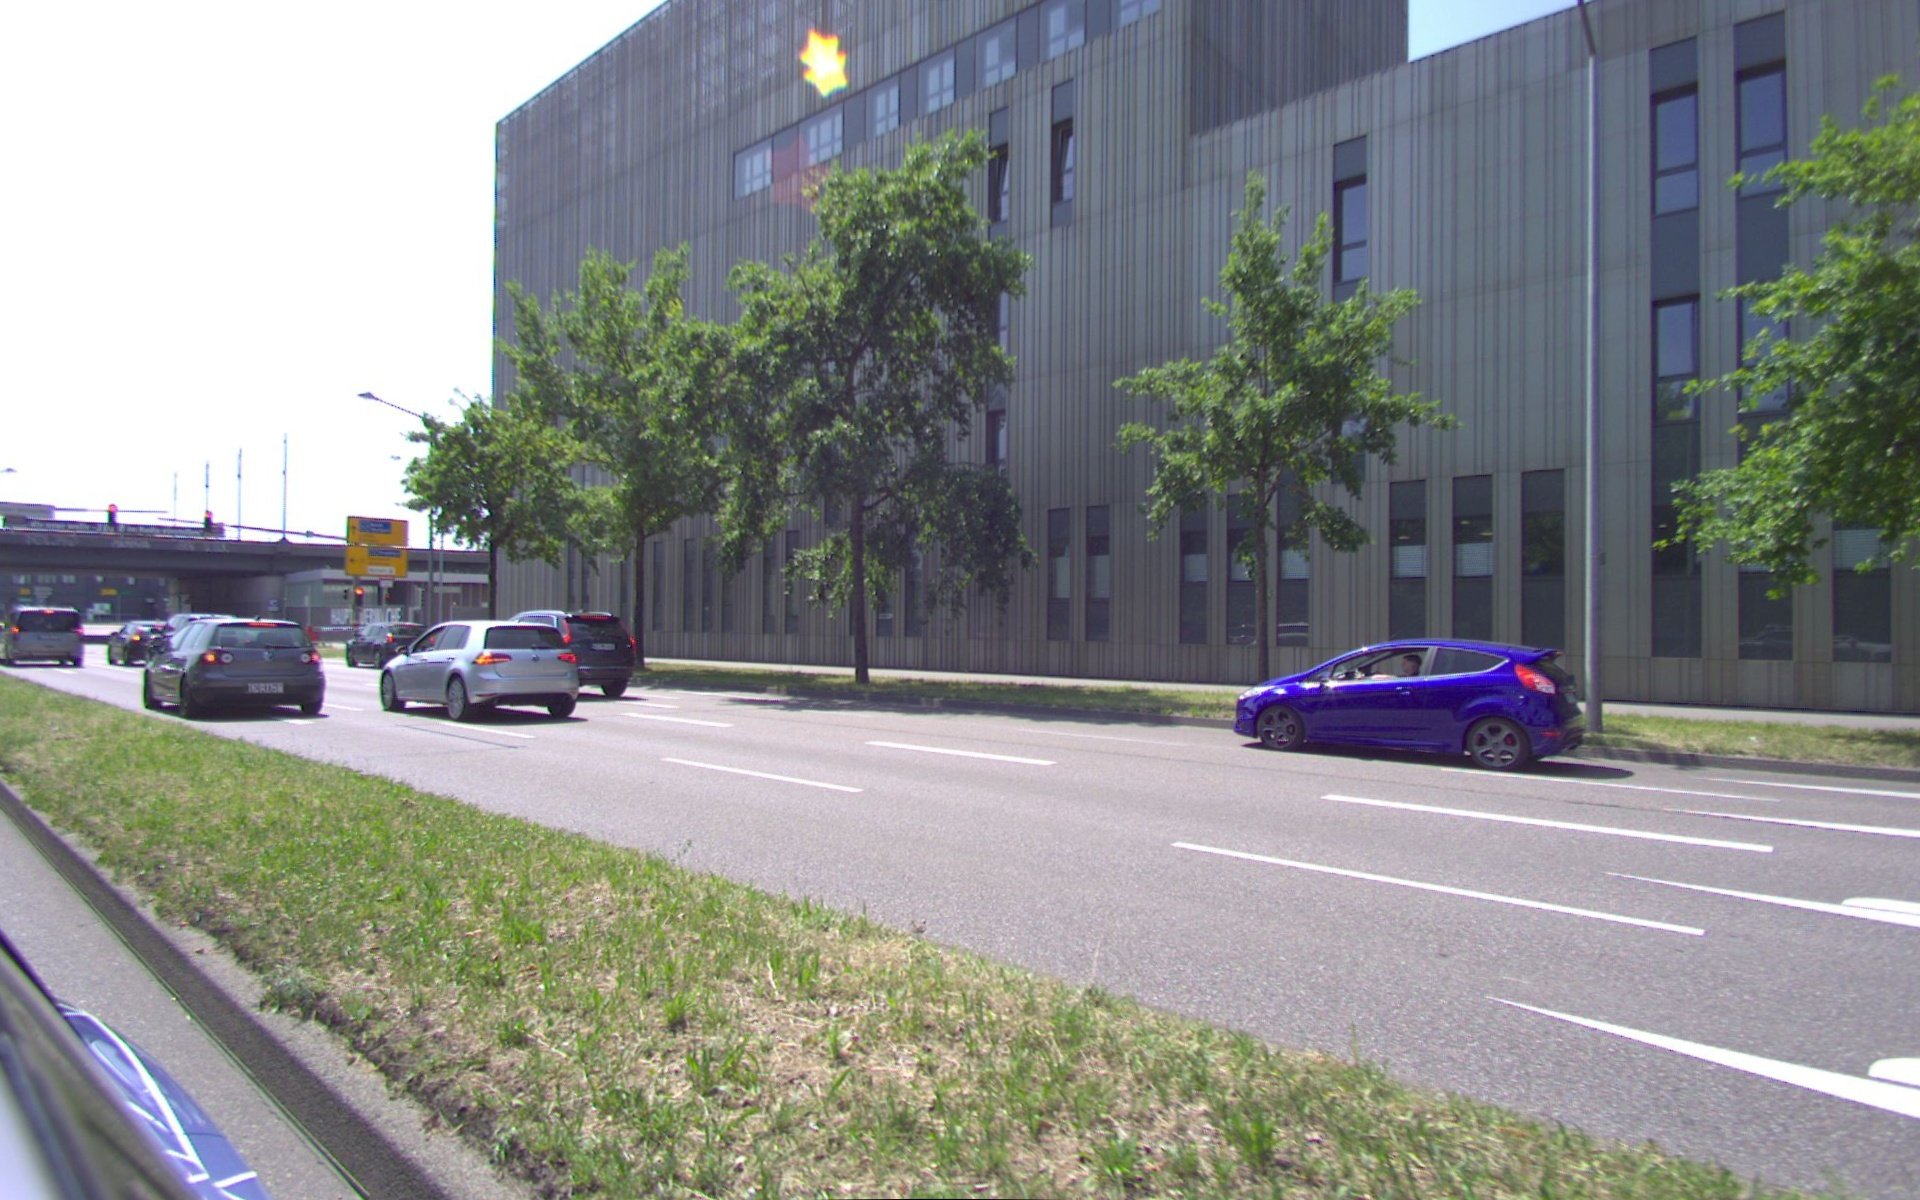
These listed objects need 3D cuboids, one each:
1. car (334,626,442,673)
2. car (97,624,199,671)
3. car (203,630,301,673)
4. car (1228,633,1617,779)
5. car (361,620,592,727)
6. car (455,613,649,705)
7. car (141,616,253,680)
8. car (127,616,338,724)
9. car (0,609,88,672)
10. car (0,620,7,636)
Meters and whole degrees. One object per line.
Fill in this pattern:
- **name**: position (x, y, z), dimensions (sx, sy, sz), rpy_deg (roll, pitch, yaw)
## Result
- **car**: position (-20.033, 1.734, 35.362), dimensions (4.365, 1.555, 1.792), rpy_deg (-2, -4, 39)
- **car**: position (-26.956, 1.531, 33.540), dimensions (4.246, 1.457, 1.792), rpy_deg (-1, -3, 40)
- **car**: position (-25.351, 1.804, 36.199), dimensions (4.246, 1.428, 1.792), rpy_deg (-1, -3, 40)
- **car**: position (5.470, 1.157, 12.271), dimensions (4.014, 1.467, 1.604), rpy_deg (-1, -3, 41)
- **car**: position (-7.716, 1.088, 15.988), dimensions (4.142, 1.471, 1.747), rpy_deg (-1, -3, 41)
- **car**: position (-8.716, 1.192, 21.431), dimensions (4.642, 1.760, 1.792), rpy_deg (-1, -3, 40)
- **car**: position (-21.700, 1.324, 28.702), dimensions (4.573, 1.676, 1.782), rpy_deg (-1, -3, 44)
- **car**: position (-11.453, 1.021, 15.846), dimensions (4.056, 1.477, 1.791), rpy_deg (-1, -3, 41)
- **car**: position (-28.815, 1.264, 31.591), dimensions (4.712, 1.815, 1.791), rpy_deg (-2, -4, 42)
- **car**: position (-103.308, 2.982, 106.593), dimensions (3.932, 1.697, 2.006), rpy_deg (1, -2, -32)
